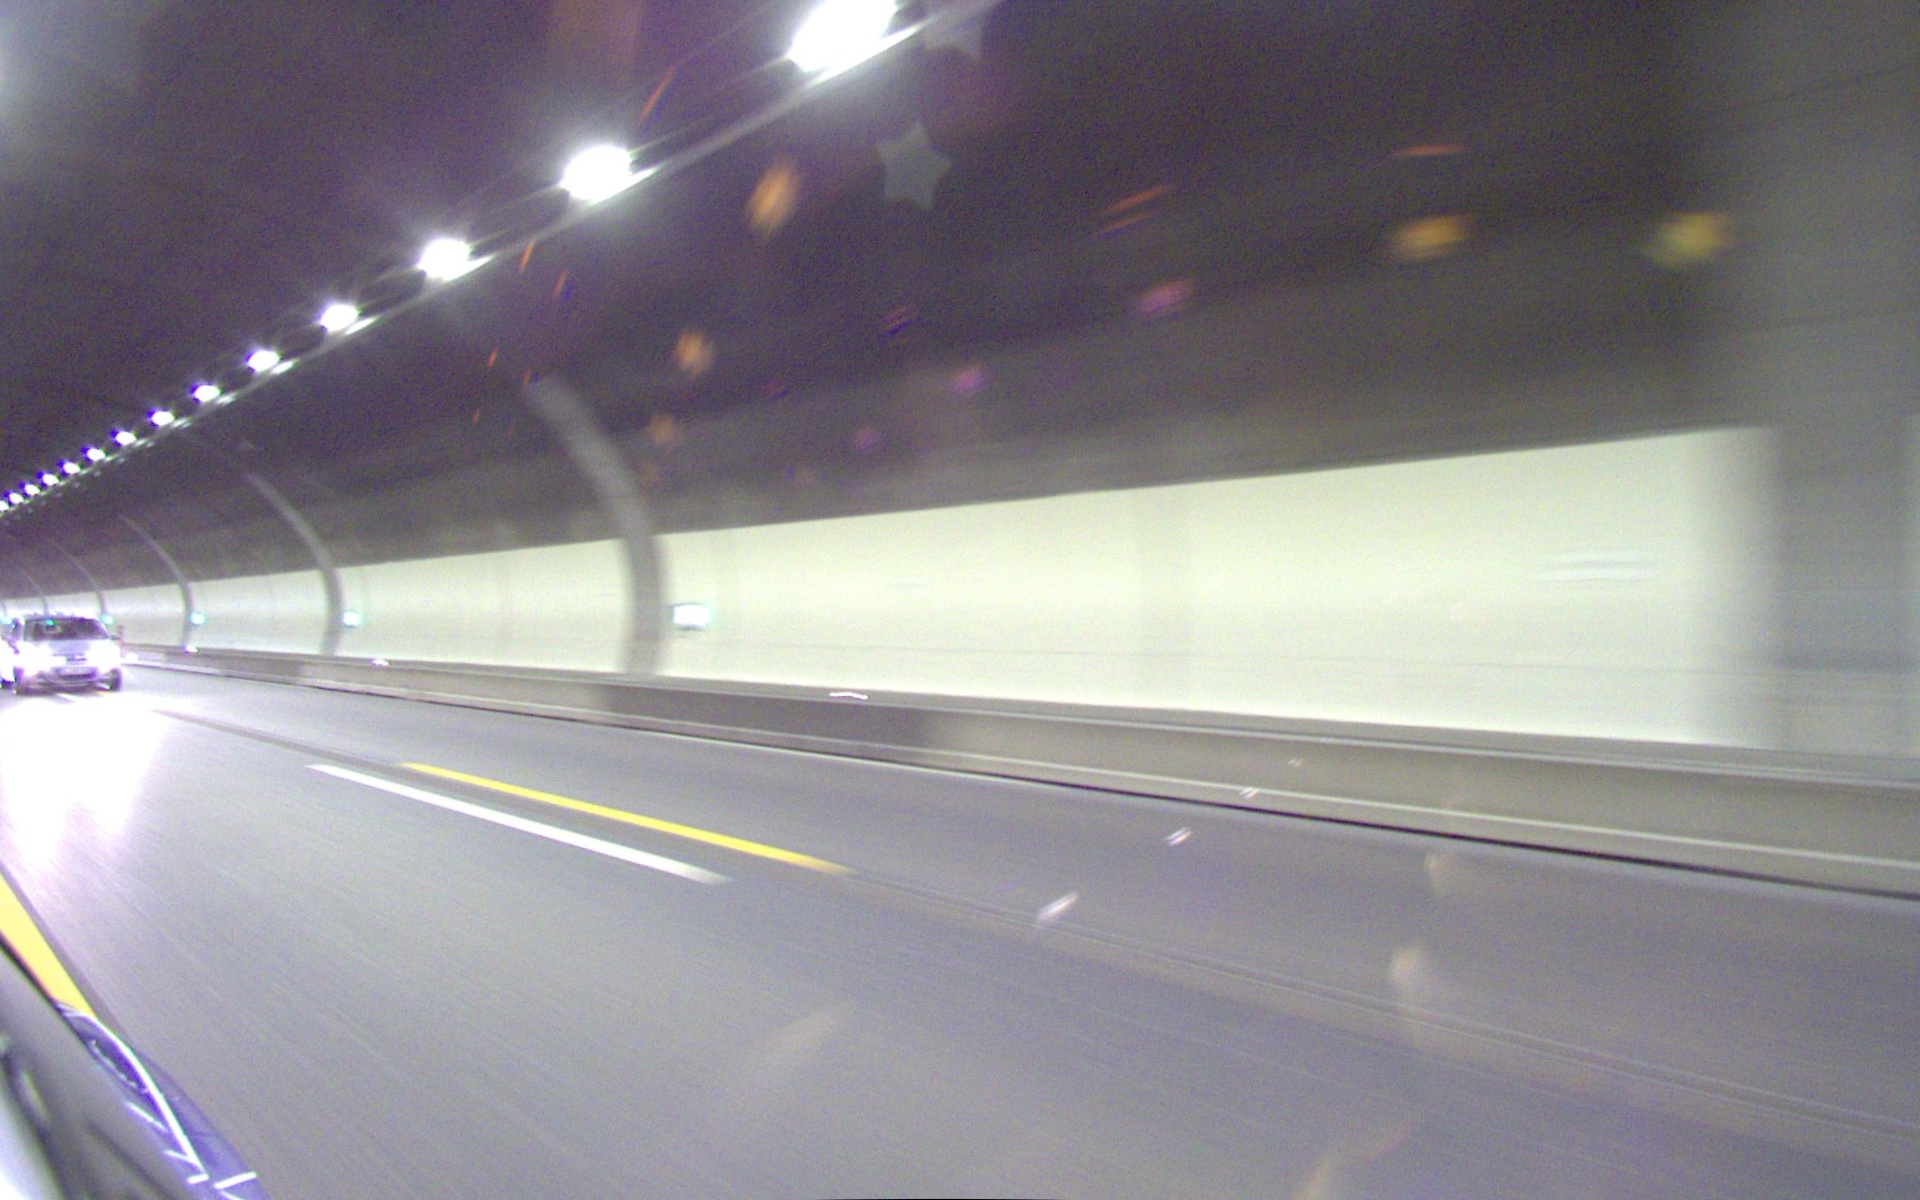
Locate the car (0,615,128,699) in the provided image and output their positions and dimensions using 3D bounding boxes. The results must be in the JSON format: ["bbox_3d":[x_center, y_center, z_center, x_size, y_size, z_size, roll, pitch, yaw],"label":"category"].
[{"bbox_3d":[-18.920,1.119,21.139,4.096,1.584,1.743,-1,-1,42],"label":"car"}]
